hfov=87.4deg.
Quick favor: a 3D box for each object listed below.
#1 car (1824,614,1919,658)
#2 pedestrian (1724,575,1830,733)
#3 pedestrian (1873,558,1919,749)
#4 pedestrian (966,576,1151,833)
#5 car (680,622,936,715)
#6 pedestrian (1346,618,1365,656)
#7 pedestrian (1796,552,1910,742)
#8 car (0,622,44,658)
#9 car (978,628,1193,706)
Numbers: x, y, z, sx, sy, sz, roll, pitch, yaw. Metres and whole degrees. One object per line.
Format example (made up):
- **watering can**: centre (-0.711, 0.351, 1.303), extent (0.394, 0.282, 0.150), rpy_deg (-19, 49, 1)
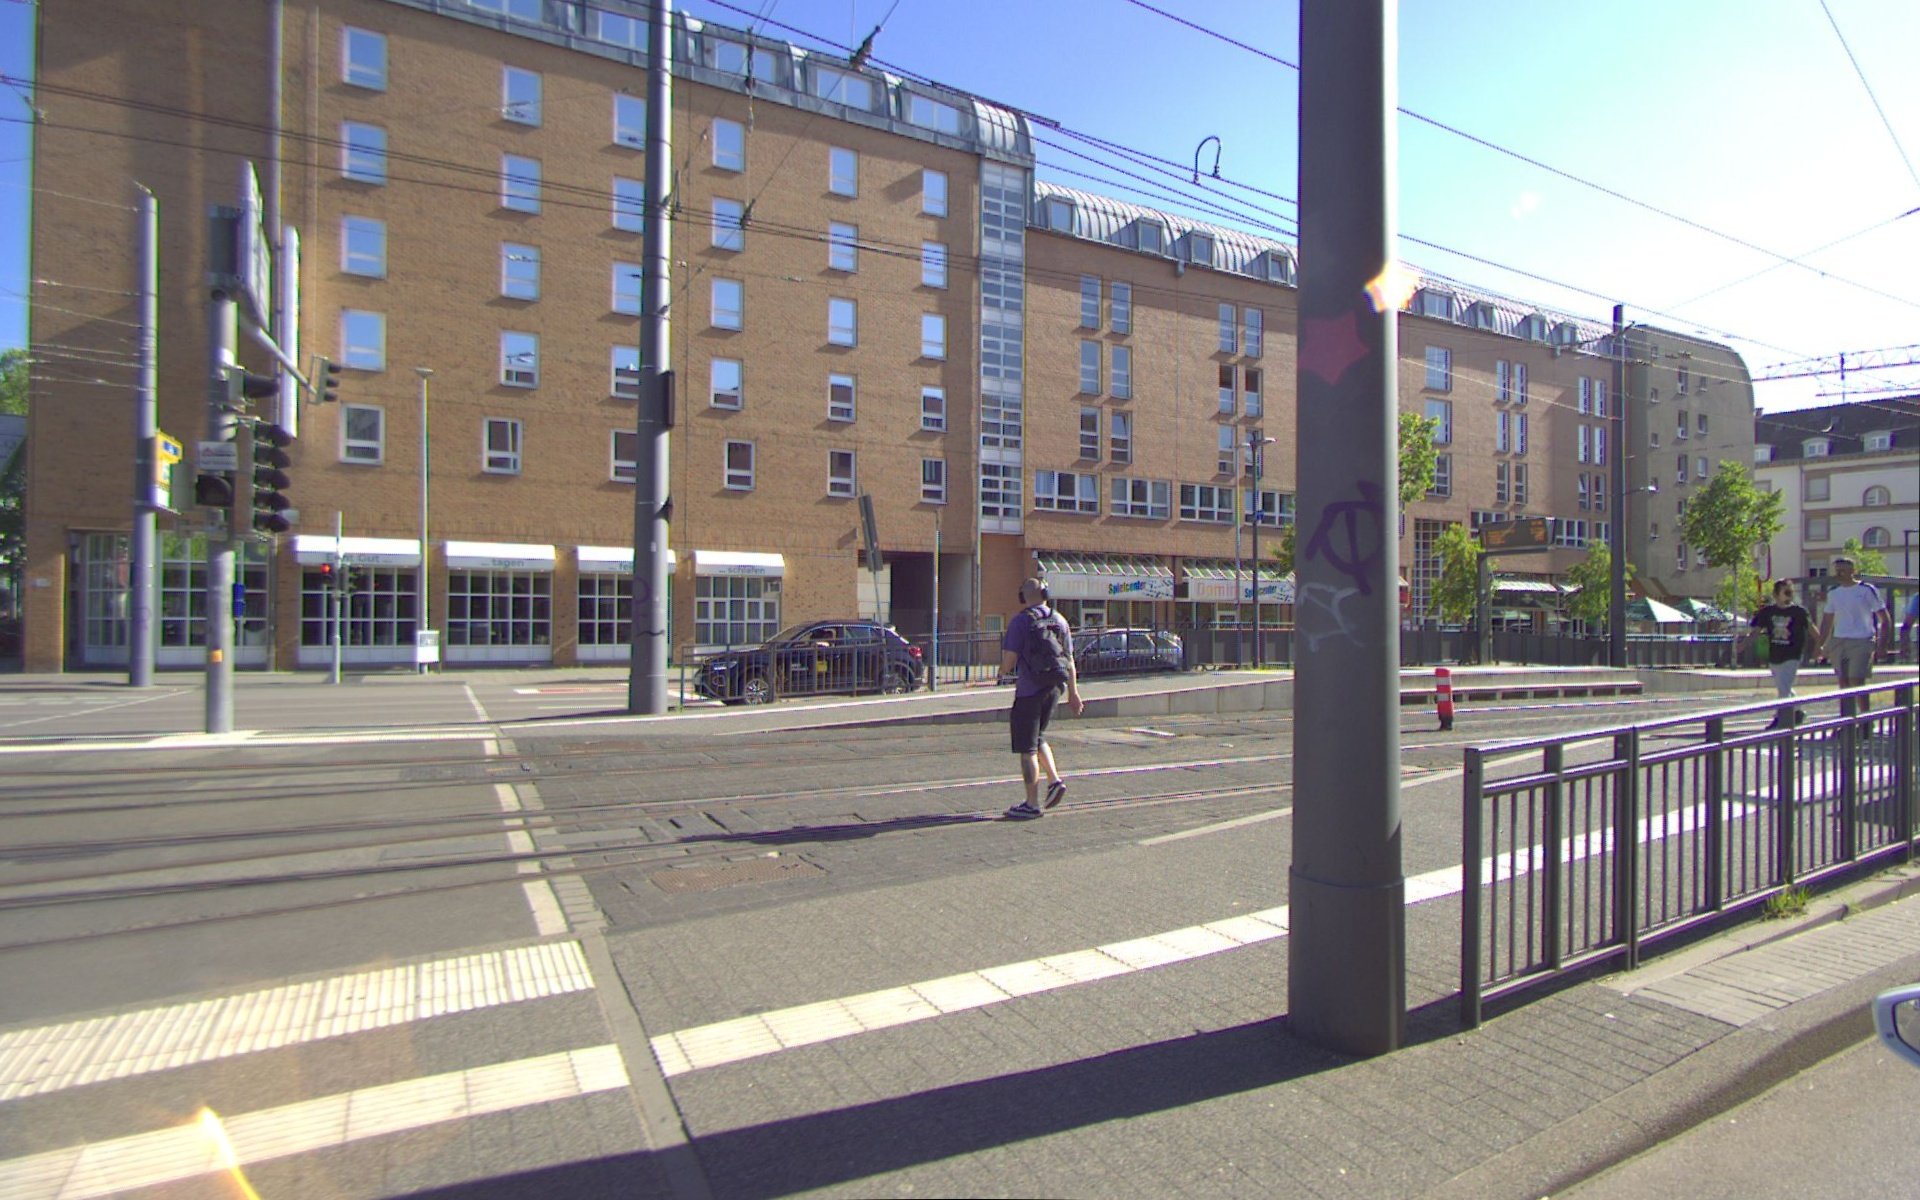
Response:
- **car**: centre (51.587, 1.991, 56.598), extent (5.560, 2.401, 1.991), rpy_deg (1, -1, -21)
- **pedestrian**: centre (8.639, 0.554, 10.622), extent (0.898, 1.590, 0.605), rpy_deg (1, -1, -32)
- **pedestrian**: centre (9.226, 0.500, 9.522), extent (0.811, 1.766, 0.643), rpy_deg (1, -1, -32)
- **pedestrian**: centre (0.705, 0.714, 7.362), extent (0.993, 1.712, 0.955), rpy_deg (1, -1, -26)
- **car**: centre (-2.758, 1.188, 18.326), extent (4.234, 1.518, 1.925), rpy_deg (1, -2, -28)
- **pedestrian**: centre (19.572, 1.804, 49.685), extent (0.637, 1.864, 0.618), rpy_deg (1, -1, -30)
- **pedestrian**: centre (8.873, 0.455, 9.984), extent (0.811, 1.797, 0.643), rpy_deg (1, -1, -32)
- **car**: centre (-40.747, 1.665, 42.232), extent (1.912, 1.472, 3.981), rpy_deg (1, -2, -21)
- **car**: centre (2.700, 1.364, 21.416), extent (4.234, 1.518, 1.925), rpy_deg (1, -2, -28)
